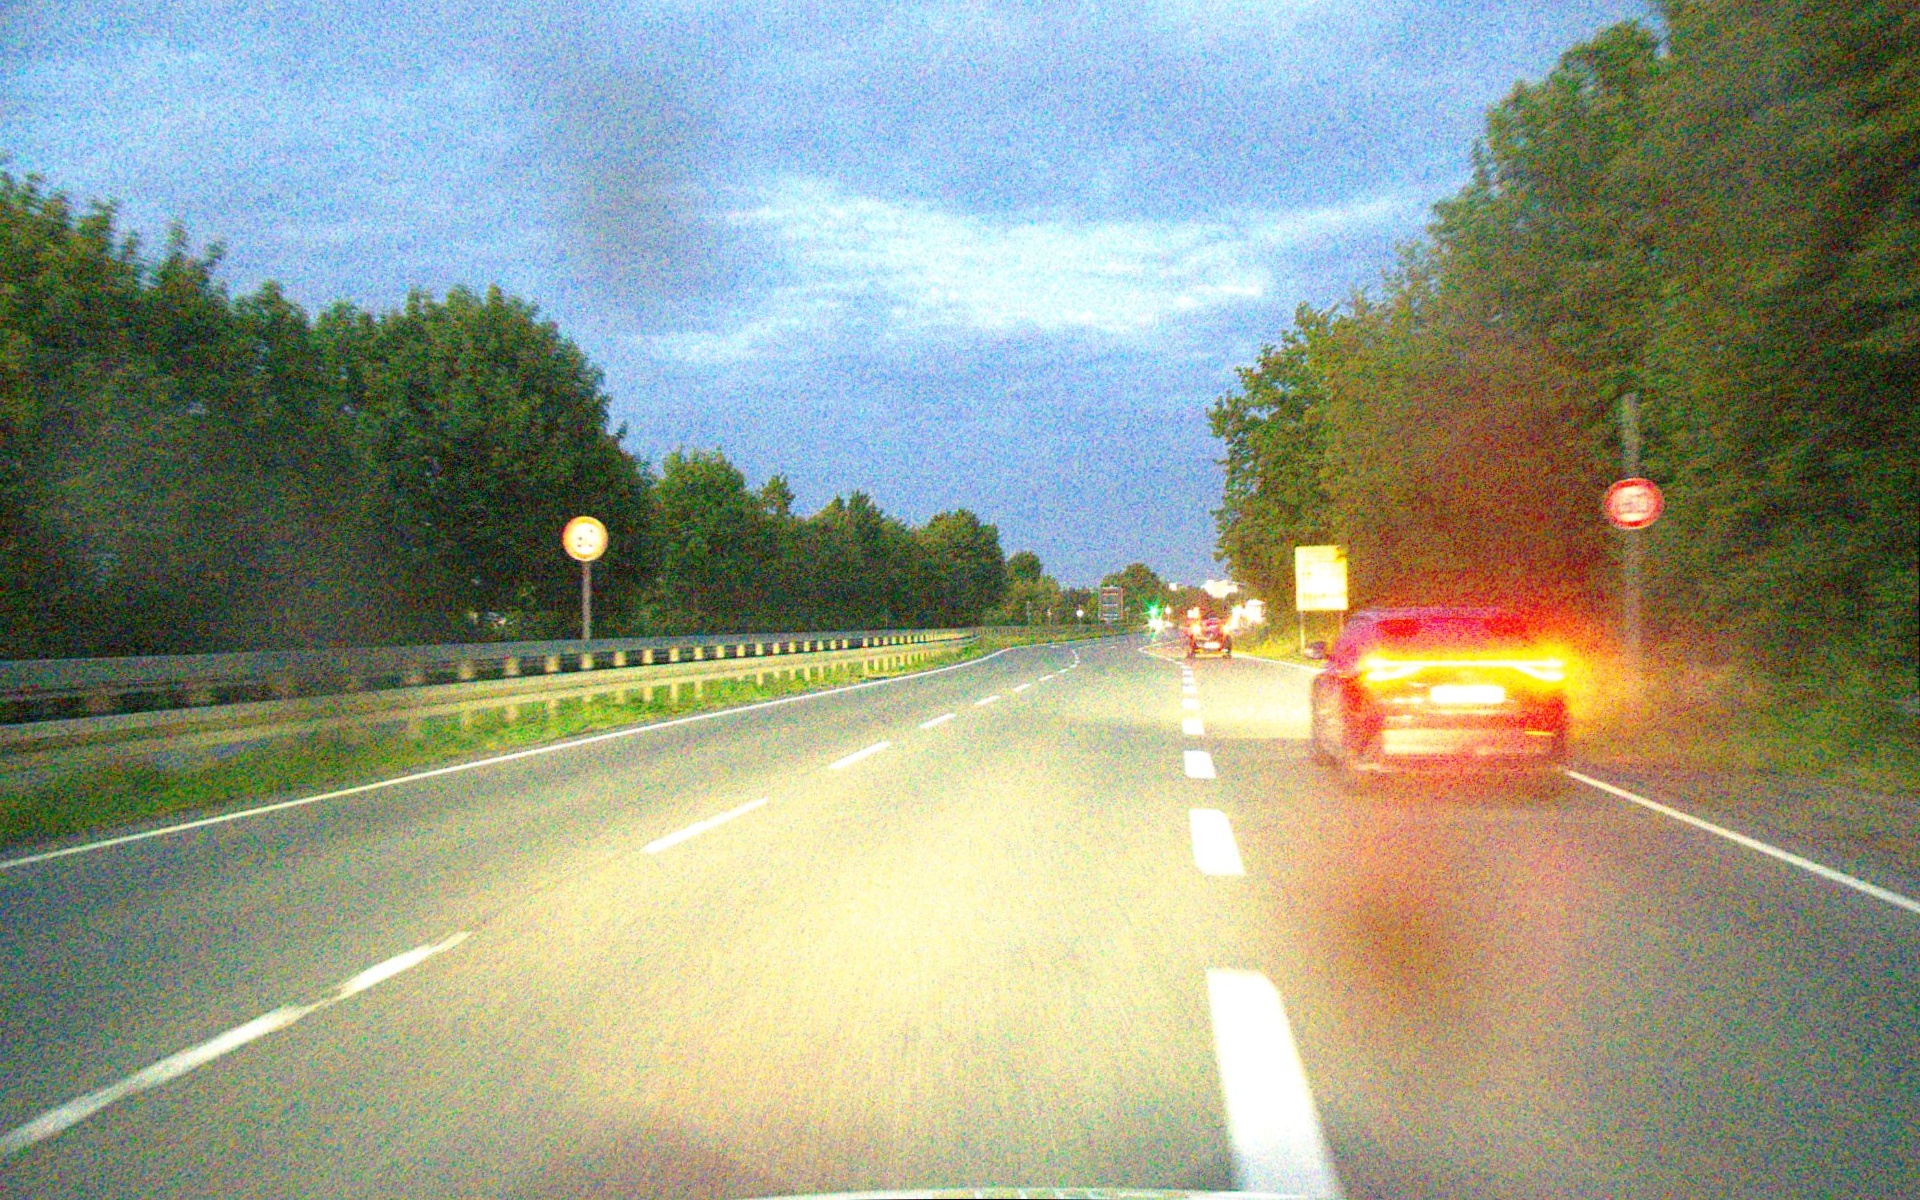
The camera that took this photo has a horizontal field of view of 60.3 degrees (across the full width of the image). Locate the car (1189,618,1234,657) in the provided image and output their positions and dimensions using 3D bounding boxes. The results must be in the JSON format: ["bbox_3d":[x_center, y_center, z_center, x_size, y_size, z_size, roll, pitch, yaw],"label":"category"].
[{"bbox_3d":[10.042,1.475,66.199,1.715,1.478,4.436,-1,-1,8],"label":"car"}]

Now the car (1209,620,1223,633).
[{"bbox_3d":[38.467,3.982,248.384,1.951,1.780,4.003,-5,-3,9],"label":"car"}]

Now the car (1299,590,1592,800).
[{"bbox_3d":[4.287,0.786,15.321,1.860,1.648,4.559,-1,-1,7],"label":"car"}]
